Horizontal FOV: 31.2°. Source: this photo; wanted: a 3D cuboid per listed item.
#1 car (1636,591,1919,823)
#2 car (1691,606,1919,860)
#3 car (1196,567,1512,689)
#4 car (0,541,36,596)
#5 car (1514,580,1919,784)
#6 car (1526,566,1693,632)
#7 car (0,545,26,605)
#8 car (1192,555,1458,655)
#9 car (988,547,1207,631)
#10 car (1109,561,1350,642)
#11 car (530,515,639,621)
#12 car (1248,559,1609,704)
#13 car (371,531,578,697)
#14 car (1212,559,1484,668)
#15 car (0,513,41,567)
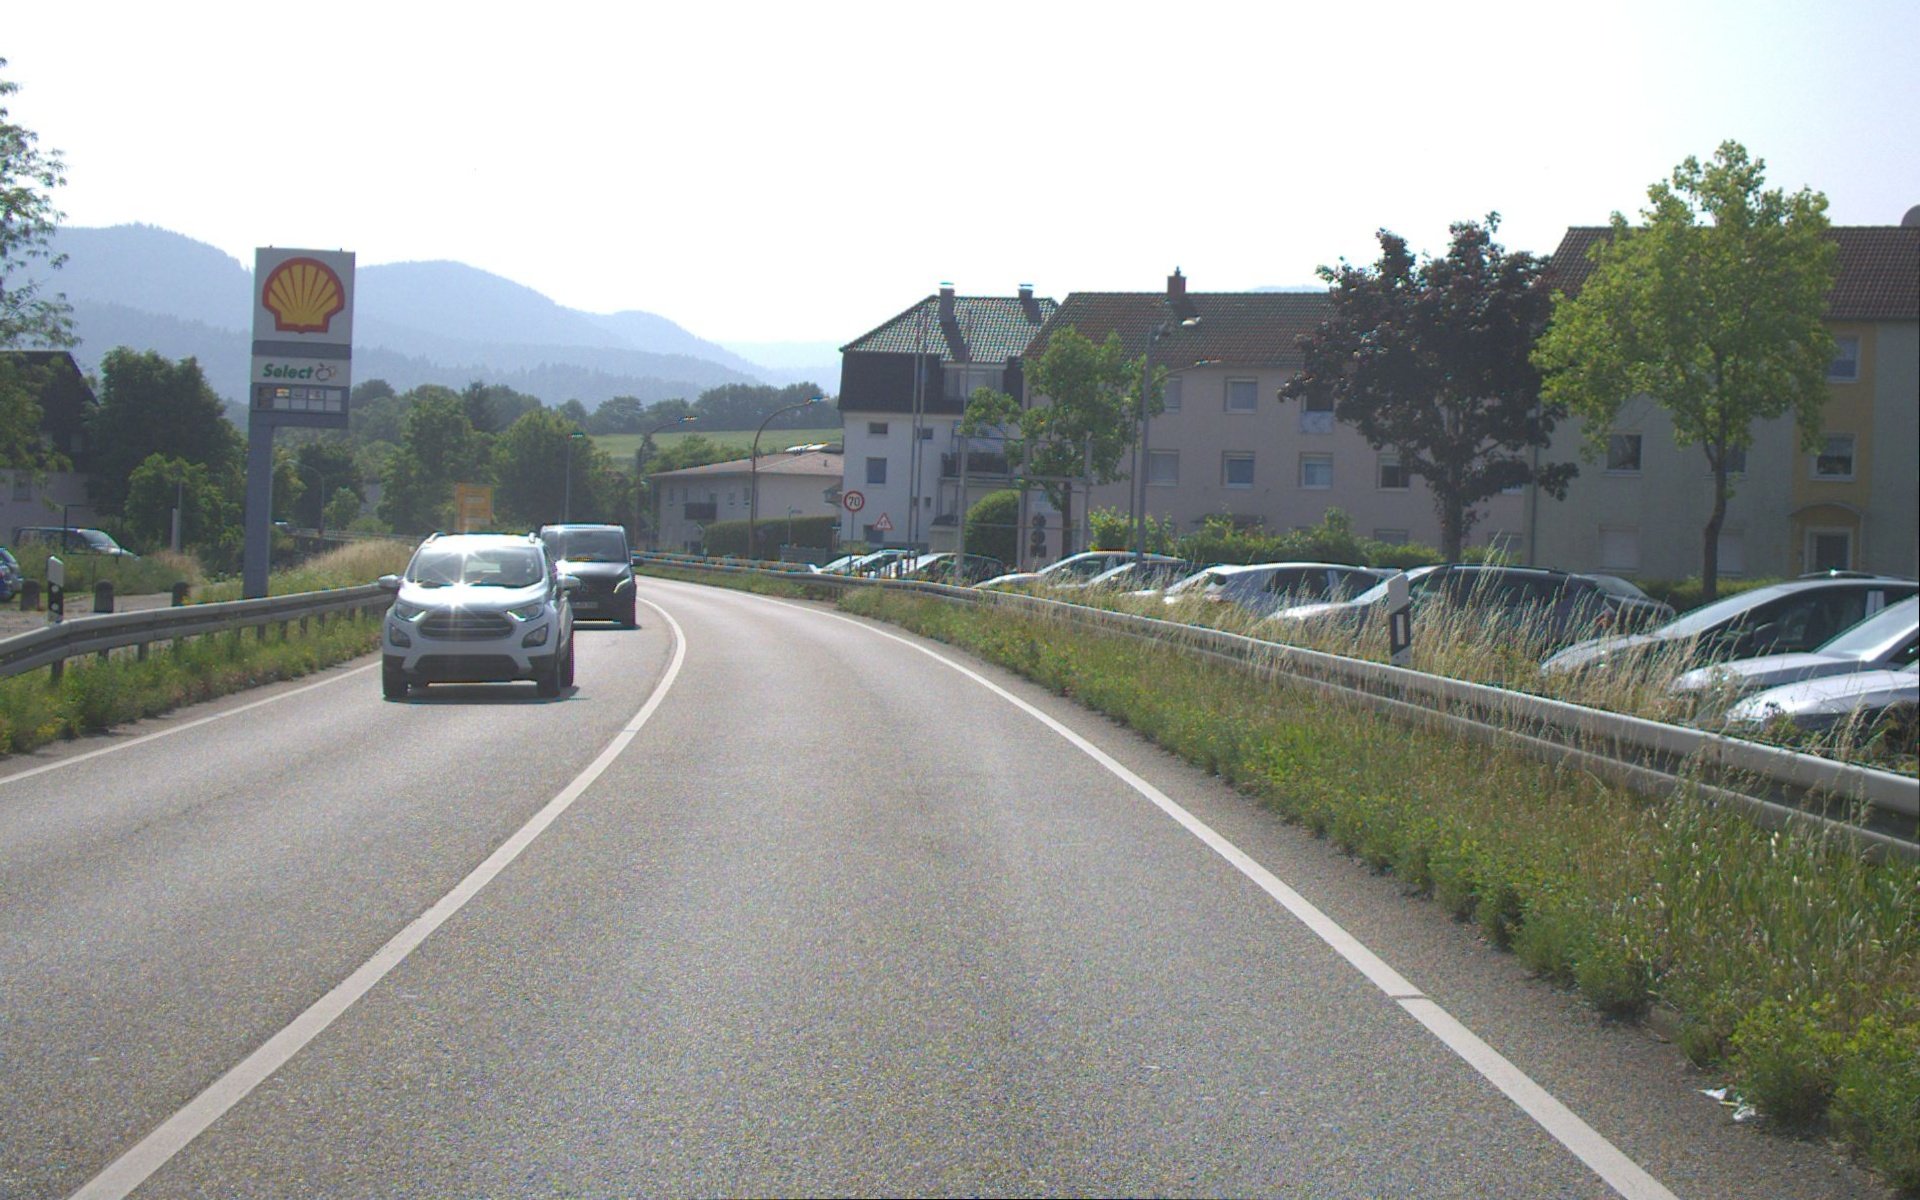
[{"bbox_3d":[7.032,0.714,24.213,4.159,1.551,1.771,0,0,-2],"label":"car"},{"bbox_3d":[6.821,0.785,21.347,4.159,1.485,1.732,0,0,-2],"label":"car"},{"bbox_3d":[5.403,0.376,47.363,3.986,1.574,1.779,1,0,-8],"label":"car"},{"bbox_3d":[-27.215,-0.883,93.613,3.746,1.455,1.862,1,0,-8],"label":"car"},{"bbox_3d":[6.626,0.618,27.215,4.159,1.540,1.741,0,0,-2],"label":"car"},{"bbox_3d":[14.171,-0.031,75.154,1.650,1.362,3.663,1,0,-28],"label":"car"},{"bbox_3d":[-25.874,-0.707,87.604,3.746,1.494,1.932,2,0,-8],"label":"car"},{"bbox_3d":[5.854,0.080,55.331,3.986,1.516,1.698,1,0,-4],"label":"car"},{"bbox_3d":[2.819,-0.236,71.109,4.318,1.634,2.140,1,0,-3],"label":"car"},{"bbox_3d":[5.104,0.026,65.369,4.319,1.439,1.629,1,0,-6],"label":"car"},{"bbox_3d":[-6.869,-0.604,63.151,1.914,1.879,4.912,0,1,-6],"label":"car"},{"bbox_3d":[5.594,0.366,41.355,3.986,1.634,1.888,1,0,-3],"label":"car"},{"bbox_3d":[-4.979,0.104,35.703,1.792,1.624,4.227,0,1,-3],"label":"car"},{"bbox_3d":[5.899,0.196,52.492,3.846,1.562,1.807,1,0,-3],"label":"car"},{"bbox_3d":[-36.844,-2.296,129.385,4.902,2.007,1.995,2,1,42],"label":"car"}]
